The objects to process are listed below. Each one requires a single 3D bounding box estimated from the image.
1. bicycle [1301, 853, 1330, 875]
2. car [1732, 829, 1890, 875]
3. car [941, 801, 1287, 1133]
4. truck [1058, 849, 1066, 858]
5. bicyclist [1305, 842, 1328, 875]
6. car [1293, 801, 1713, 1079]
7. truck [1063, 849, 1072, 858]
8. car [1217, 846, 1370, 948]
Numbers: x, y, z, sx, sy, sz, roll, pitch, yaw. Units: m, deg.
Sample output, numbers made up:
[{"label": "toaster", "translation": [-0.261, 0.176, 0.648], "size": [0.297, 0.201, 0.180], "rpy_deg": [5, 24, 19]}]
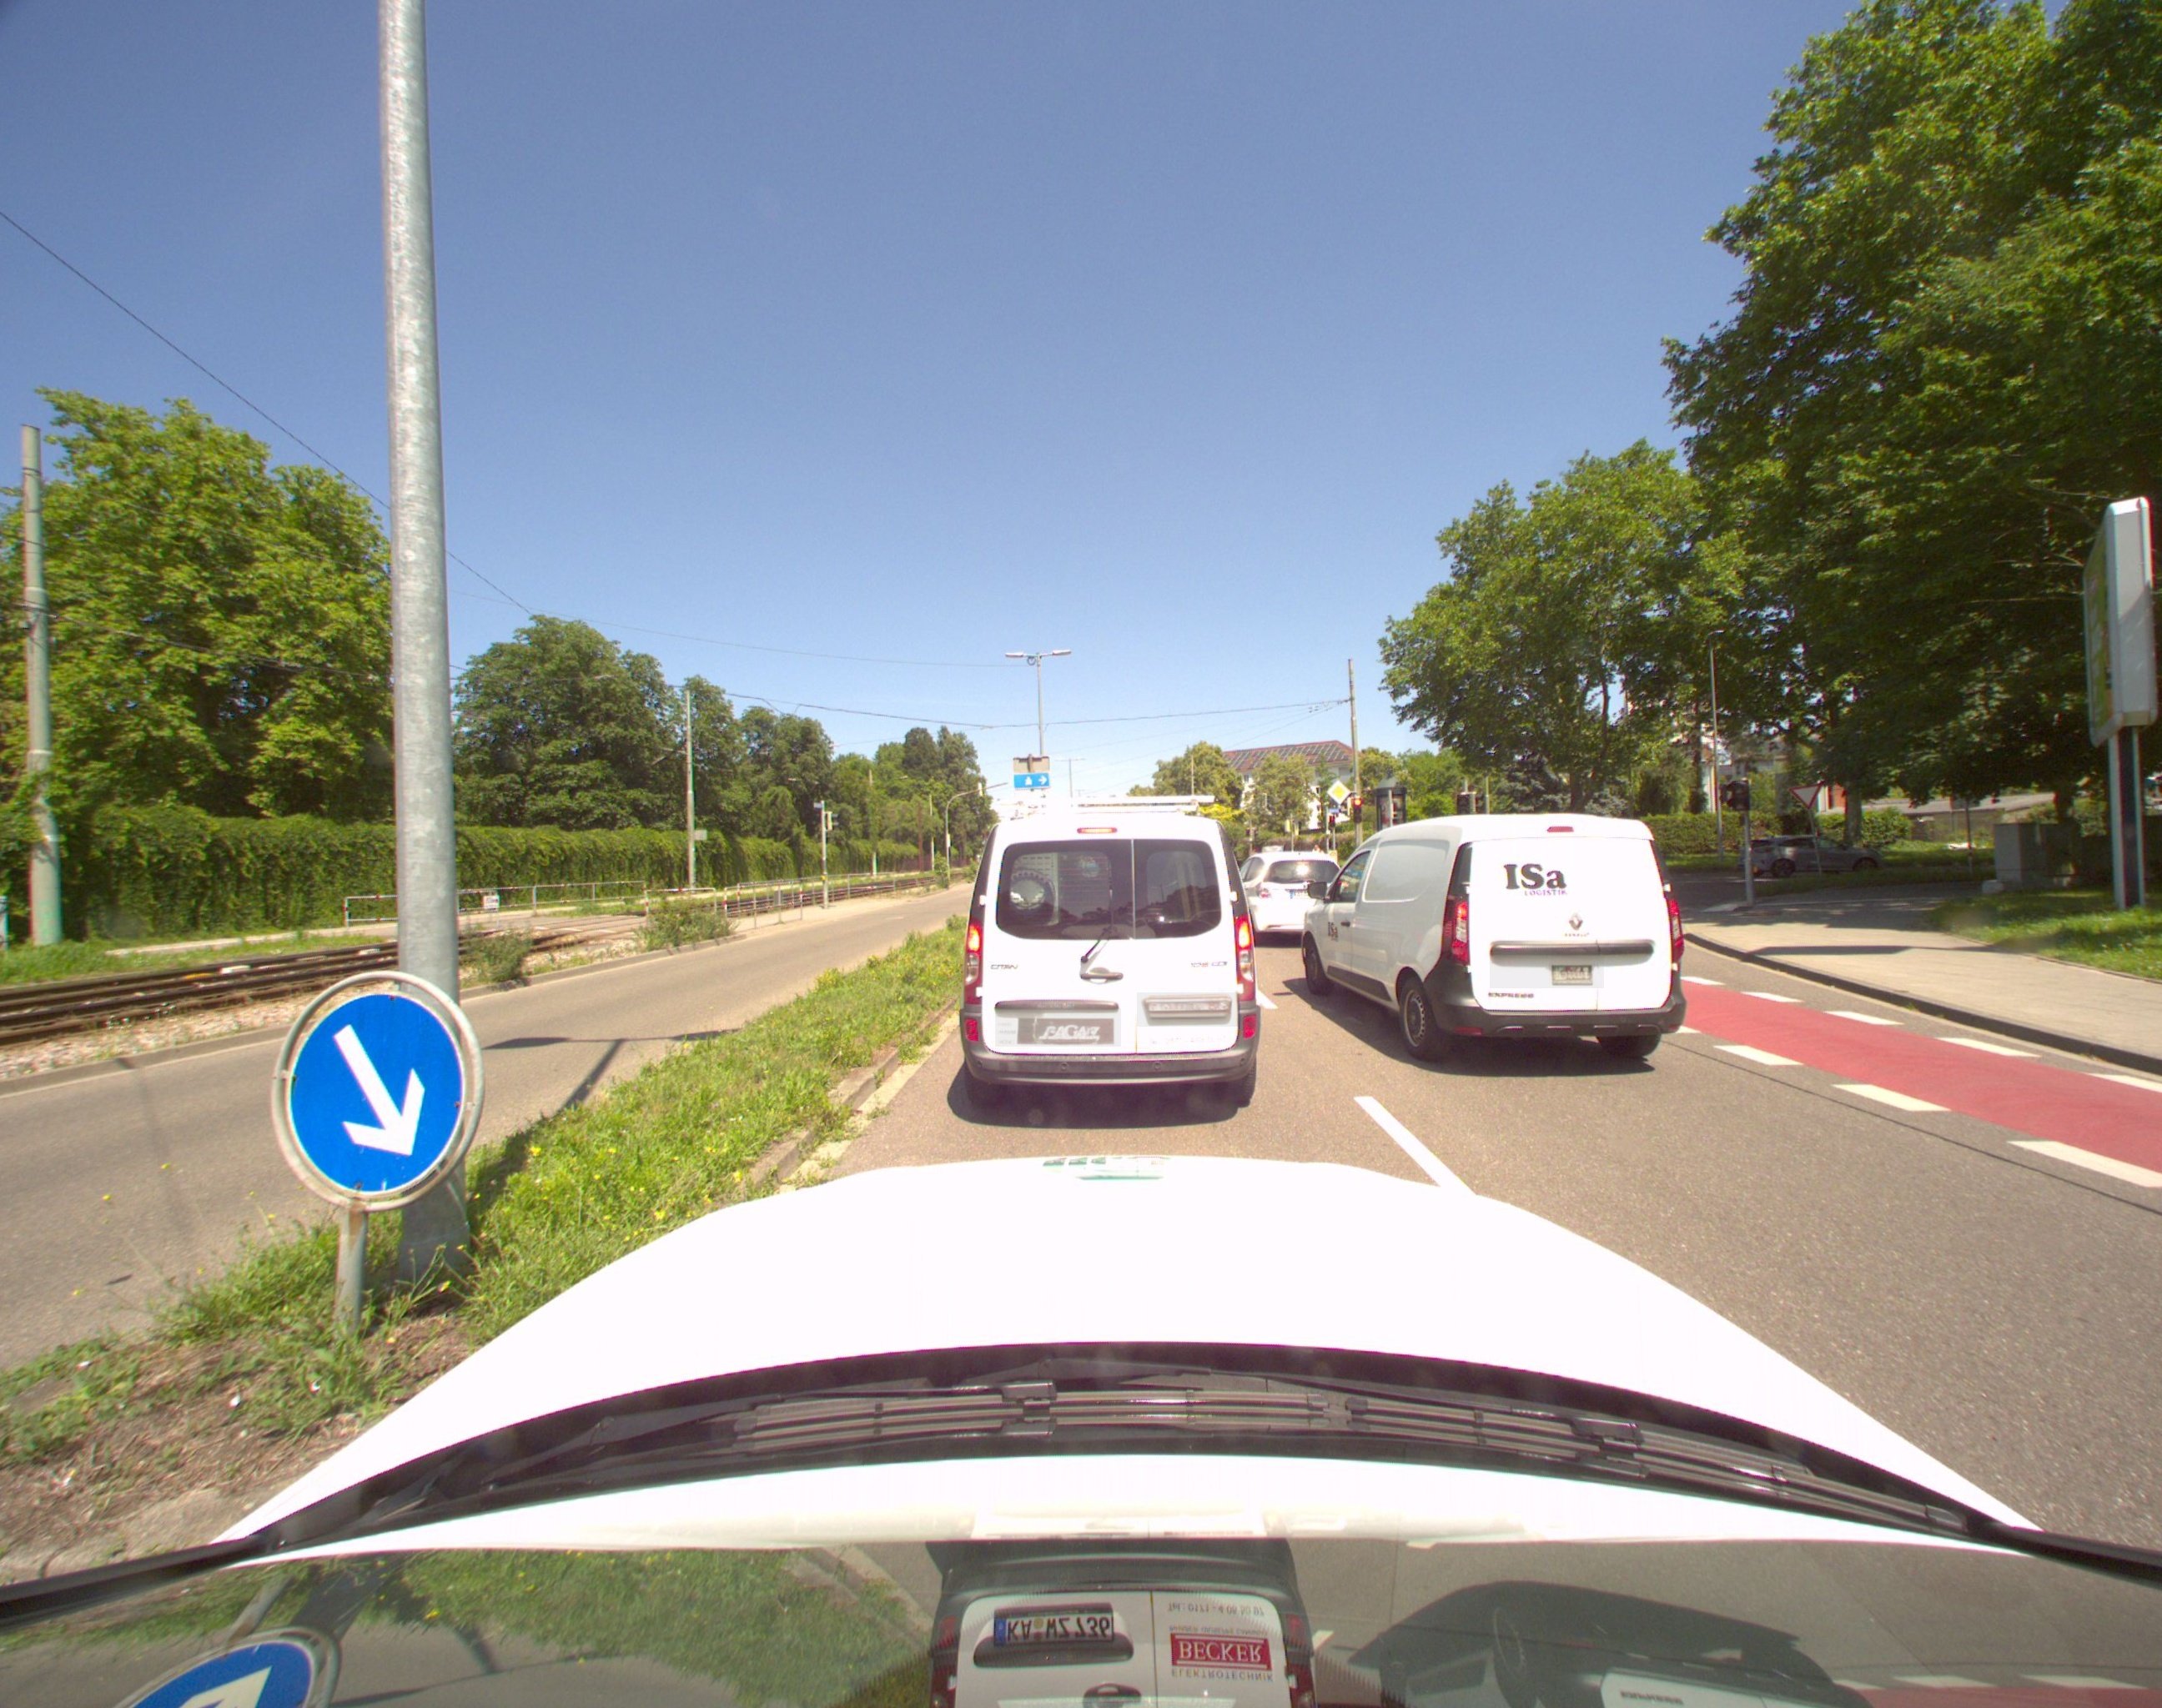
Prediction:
[{"label": "bicycle", "translation": [13.185, 0.564, 45.852], "size": [0.891, 1.159, 1.952], "rpy_deg": [-1, -1, -6]}, {"label": "car", "translation": [26.646, -0.047, 29.860], "size": [3.962, 1.520, 1.758], "rpy_deg": [-2, -1, 10]}, {"label": "car", "translation": [0.240, 0.611, 6.530], "size": [1.814, 1.739, 4.398], "rpy_deg": [-1, 0, 2]}, {"label": "truck", "translation": [-5.716, -0.106, 247.111], "size": [2.131, 2.587, 5.891], "rpy_deg": [0, -1, 2]}, {"label": "bicyclist", "translation": [13.242, 0.249, 45.835], "size": [0.972, 1.788, 0.724], "rpy_deg": [-1, -1, -7]}, {"label": "car", "translation": [3.269, 0.564, 7.323], "size": [1.721, 1.788, 4.065], "rpy_deg": [0, 0, 1]}, {"label": "truck", "translation": [-3.955, -0.189, 238.248], "size": [2.131, 2.587, 5.891], "rpy_deg": [0, -1, 2]}, {"label": "car", "translation": [3.627, 0.657, 14.642], "size": [1.828, 1.568, 4.002], "rpy_deg": [0, 0, 2]}]
